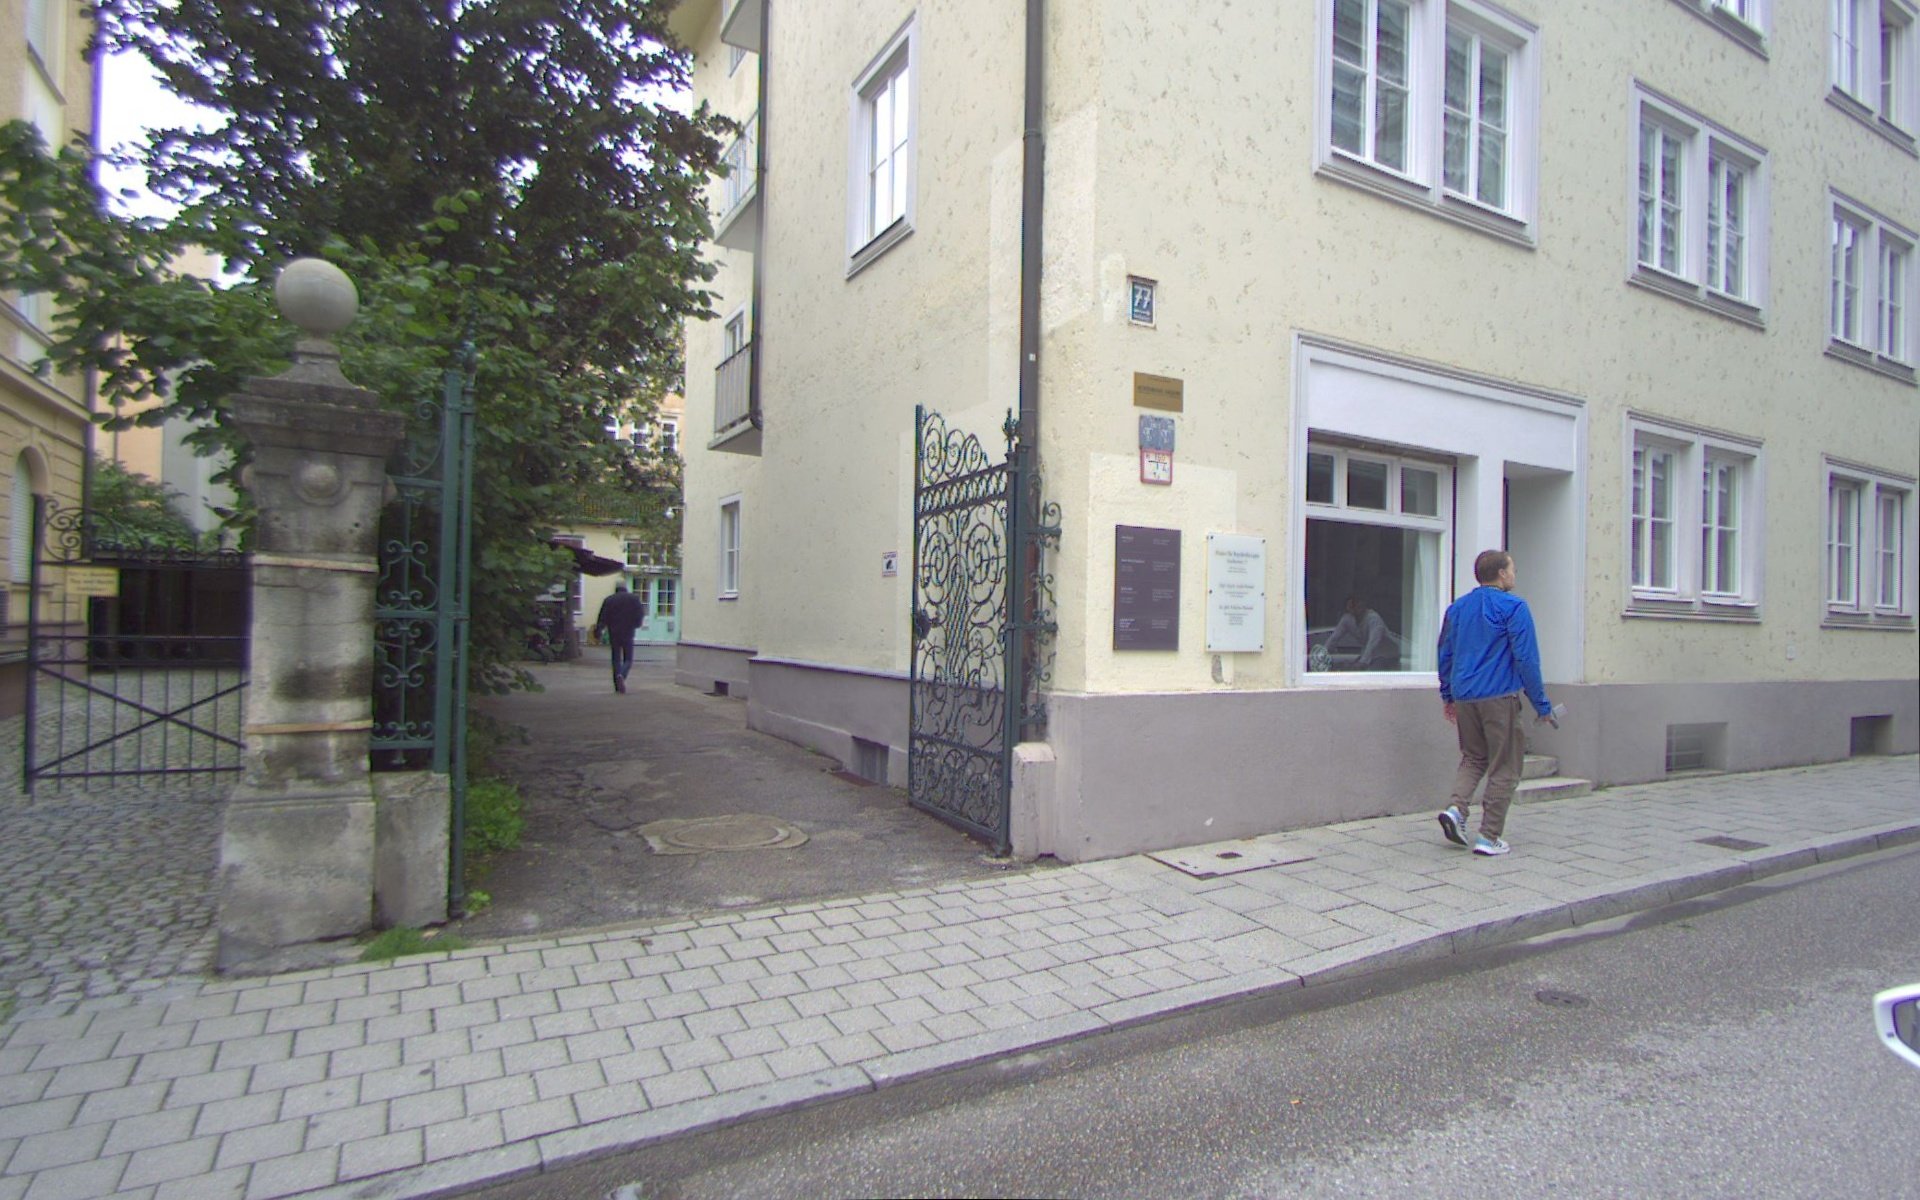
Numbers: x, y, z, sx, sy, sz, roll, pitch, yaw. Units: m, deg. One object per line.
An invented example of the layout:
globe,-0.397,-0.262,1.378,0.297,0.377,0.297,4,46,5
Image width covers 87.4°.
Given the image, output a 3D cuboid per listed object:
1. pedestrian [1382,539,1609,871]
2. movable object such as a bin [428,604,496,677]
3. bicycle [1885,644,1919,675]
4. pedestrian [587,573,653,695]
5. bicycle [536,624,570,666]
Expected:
pedestrian,3.339,0.606,6.276,1.064,1.879,0.753,2,0,-29
movable object such as a bin,-9.975,0.802,20.184,1.091,1.422,1.221,1,-1,-22
bicycle,35.051,2.183,36.745,0.590,1.083,1.651,2,0,-25
pedestrian,-5.388,0.532,15.884,0.895,1.851,0.951,2,-1,-23
bicycle,-10.082,1.103,24.915,0.688,0.985,1.880,1,-1,-20
